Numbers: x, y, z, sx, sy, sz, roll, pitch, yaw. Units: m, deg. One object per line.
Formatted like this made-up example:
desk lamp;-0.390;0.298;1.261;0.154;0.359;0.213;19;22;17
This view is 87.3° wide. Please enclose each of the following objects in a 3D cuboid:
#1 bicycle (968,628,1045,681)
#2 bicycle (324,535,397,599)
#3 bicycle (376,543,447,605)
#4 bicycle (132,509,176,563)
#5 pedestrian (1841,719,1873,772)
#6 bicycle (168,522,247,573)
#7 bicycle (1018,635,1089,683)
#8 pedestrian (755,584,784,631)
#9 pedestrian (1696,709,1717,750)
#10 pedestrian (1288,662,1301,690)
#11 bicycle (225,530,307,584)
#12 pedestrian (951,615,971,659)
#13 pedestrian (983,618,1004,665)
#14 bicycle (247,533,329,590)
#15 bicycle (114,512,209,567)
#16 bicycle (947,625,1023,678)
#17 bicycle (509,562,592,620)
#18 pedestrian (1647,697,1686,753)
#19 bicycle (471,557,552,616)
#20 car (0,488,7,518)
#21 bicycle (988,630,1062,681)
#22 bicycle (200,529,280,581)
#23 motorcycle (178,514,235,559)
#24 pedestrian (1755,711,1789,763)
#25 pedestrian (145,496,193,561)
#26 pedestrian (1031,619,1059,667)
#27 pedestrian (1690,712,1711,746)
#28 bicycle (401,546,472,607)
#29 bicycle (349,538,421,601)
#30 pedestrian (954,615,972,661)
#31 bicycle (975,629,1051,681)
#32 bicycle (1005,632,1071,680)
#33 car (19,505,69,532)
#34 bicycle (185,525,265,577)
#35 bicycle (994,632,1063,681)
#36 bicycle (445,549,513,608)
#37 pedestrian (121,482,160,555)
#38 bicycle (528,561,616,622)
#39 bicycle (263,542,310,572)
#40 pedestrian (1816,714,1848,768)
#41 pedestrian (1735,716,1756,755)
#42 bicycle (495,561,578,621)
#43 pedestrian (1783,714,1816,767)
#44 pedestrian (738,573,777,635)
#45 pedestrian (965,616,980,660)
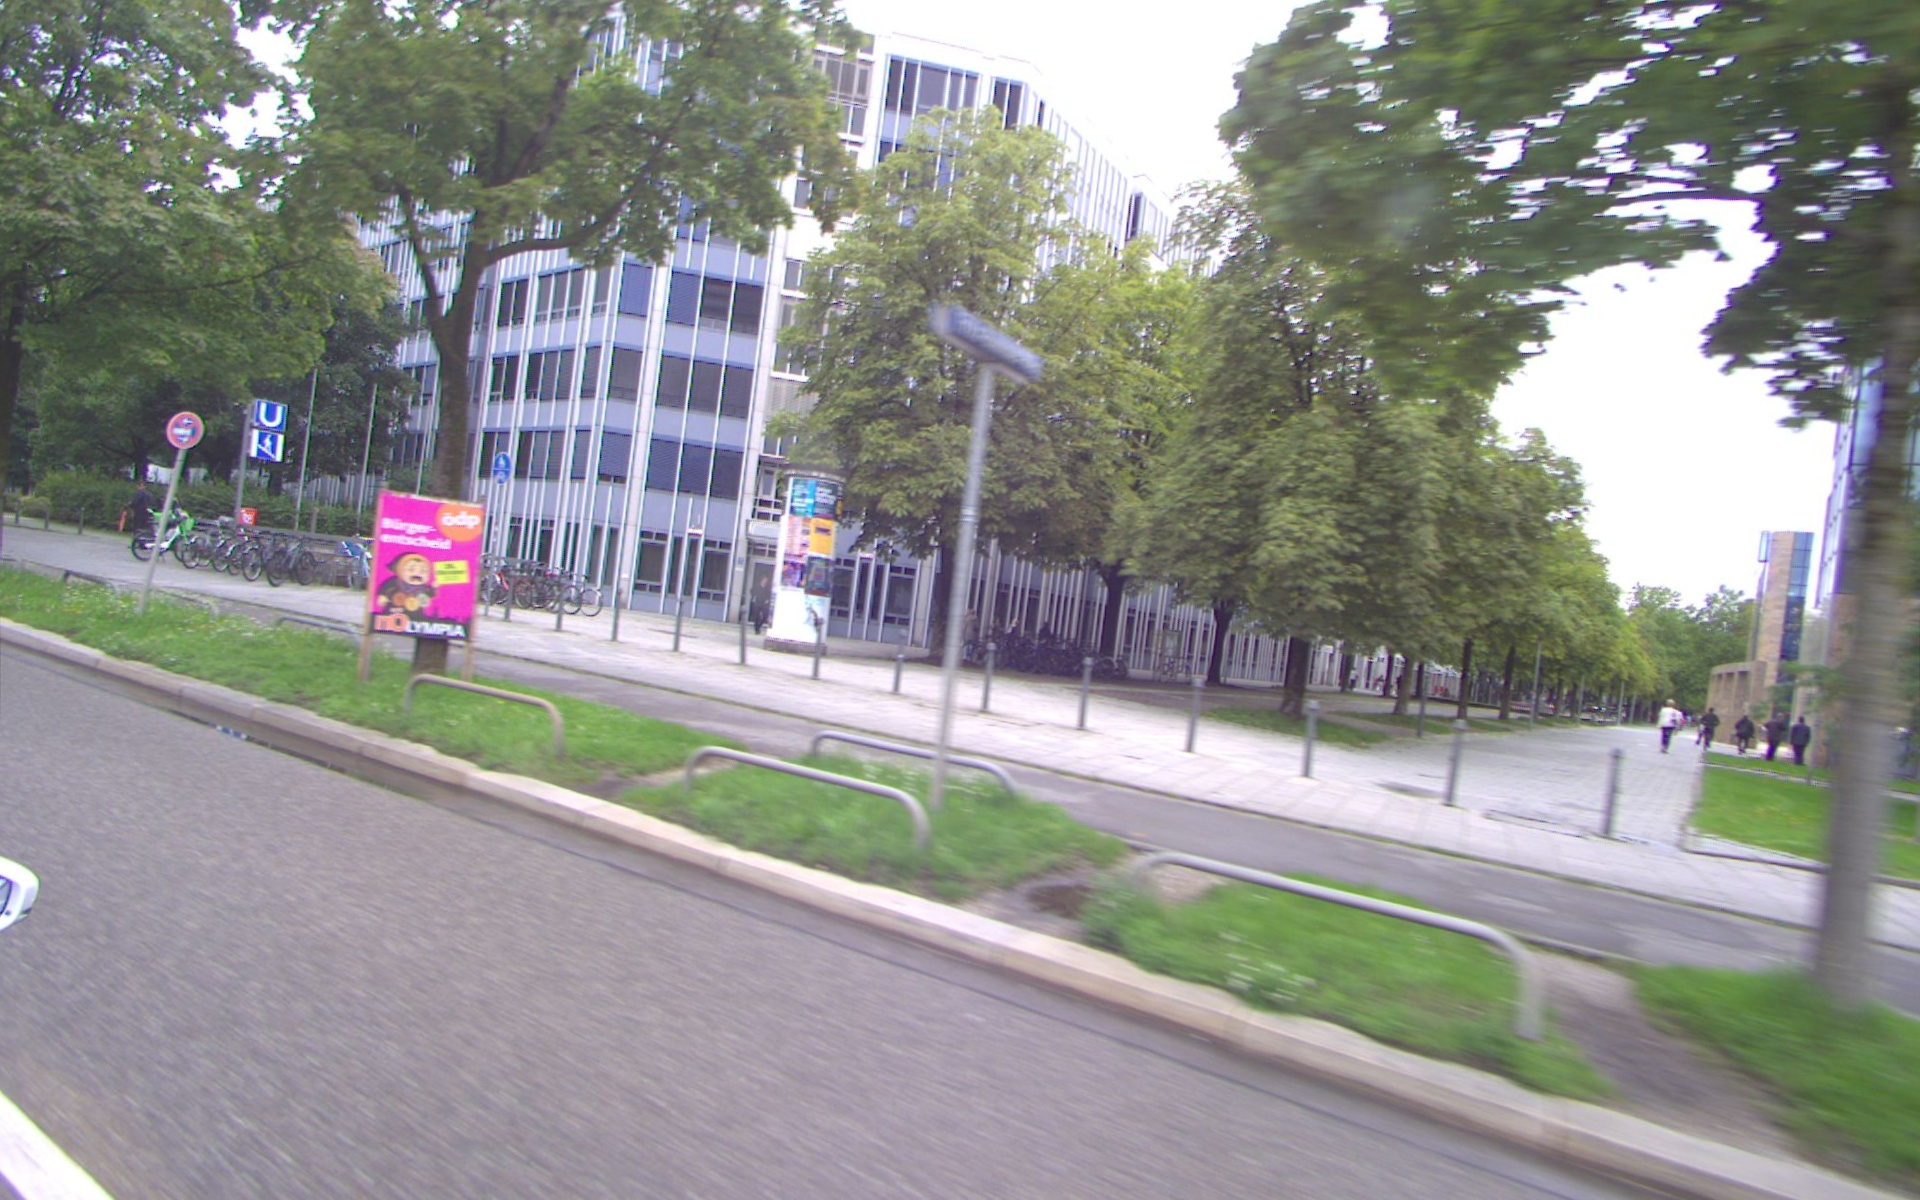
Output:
bicycle;1.356;1.596;29.725;2.137;1.276;0.509;7;0;27
bicycle;-12.975;-0.727;21.764;1.923;1.203;0.488;7;0;34
bicycle;-12.382;-0.596;22.687;1.923;1.203;0.488;7;0;34
bicycle;-21.159;-1.693;26.391;1.835;1.243;0.529;9;4;41
pedestrian;30.232;4.893;33.918;0.494;1.699;0.593;7;0;26
bicycle;-18.274;-1.280;24.477;0.570;1.123;1.949;7;3;-7
bicycle;3.020;1.894;32.595;2.137;1.276;0.553;7;0;27
pedestrian;-7.319;0.279;38.577;0.649;1.699;0.691;6;1;-41
pedestrian;31.436;5.438;42.366;0.507;1.651;0.503;7;1;42
pedestrian;20.792;4.712;62.478;0.477;1.678;0.482;7;0;35
bicycle;-15.468;-0.940;22.476;0.594;1.103;2.037;4;1;-7
pedestrian;0.024;1.339;36.187;0.389;1.510;0.383;7;1;44
pedestrian;1.160;1.437;34.801;0.401;1.591;0.347;7;0;33
bicycle;-14.265;-0.815;21.426;0.570;1.114;2.028;4;1;-8
bicycle;-19.201;-1.434;24.240;0.586;1.205;1.953;7;2;3
bicycle;0.721;1.497;29.350;2.020;1.276;0.607;7;0;29
bicycle;-10.312;-0.230;25.317;2.104;1.203;0.578;7;0;27
pedestrian;23.163;4.084;32.981;0.852;1.699;0.587;7;1;36
bicycle;-10.802;-0.334;24.194;2.104;1.203;0.446;7;0;27
car;-63.230;-6.444;64.786;4.402;1.840;1.842;6;0;36
bicycle;1.991;1.701;30.968;2.137;1.276;0.509;7;0;27
bicycle;-16.375;-1.020;22.940;0.570;1.080;1.950;5;2;-7
motorcycle;-26.642;-2.251;35.559;2.036;1.334;0.550;7;0;22
pedestrian;28.136;4.747;34.872;0.494;1.699;0.593;7;0;-2
pedestrian;-22.742;-2.051;28.929;0.775;1.735;0.746;7;0;-24
pedestrian;3.162;1.610;37.467;0.616;1.678;0.589;7;0;42
pedestrian;36.964;6.445;50.207;0.415;1.588;0.592;6;0;-26
bicycle;-12.093;-0.544;23.221;1.923;1.203;0.488;7;0;34
bicycle;-12.704;-0.680;22.206;1.923;1.203;0.488;7;0;34
pedestrian;0.098;1.335;35.735;0.307;1.591;0.350;6;1;-39
bicycle;1.573;1.640;30.265;2.137;1.276;0.509;7;0;27
bicycle;2.493;1.785;32.208;1.920;1.276;0.509;7;0;27
car;-60.859;-5.382;66.899;1.772;1.390;3.929;8;-2;-34
bicycle;-17.408;-1.155;23.889;0.587;1.097;1.950;7;2;-7
bicycle;2.149;1.774;31.574;1.986;1.276;0.509;7;0;27
bicycle;-11.382;-0.510;23.770;1.923;1.203;0.446;7;0;34
pedestrian;-22.683;-2.242;27.852;0.648;1.923;0.741;6;1;-37
bicycle;-10.077;-0.239;26.064;2.434;1.310;0.509;7;0;27
bicycle;-24.385;-1.564;36.411;1.804;0.864;0.683;8;1;33
pedestrian;29.216;4.706;33.707;0.584;1.699;0.561;7;1;35
pedestrian;33.432;5.781;42.822;0.418;1.588;0.508;6;1;-43
bicycle;-10.344;-0.229;24.557;2.104;1.203;0.512;7;0;27
pedestrian;28.336;4.750;33.969;0.498;1.699;0.588;6;1;-32
pedestrian;-6.252;0.120;31.034;0.684;1.794;0.760;6;1;-43
pedestrian;0.456;1.343;35.537;0.342;1.510;0.346;7;0;3
